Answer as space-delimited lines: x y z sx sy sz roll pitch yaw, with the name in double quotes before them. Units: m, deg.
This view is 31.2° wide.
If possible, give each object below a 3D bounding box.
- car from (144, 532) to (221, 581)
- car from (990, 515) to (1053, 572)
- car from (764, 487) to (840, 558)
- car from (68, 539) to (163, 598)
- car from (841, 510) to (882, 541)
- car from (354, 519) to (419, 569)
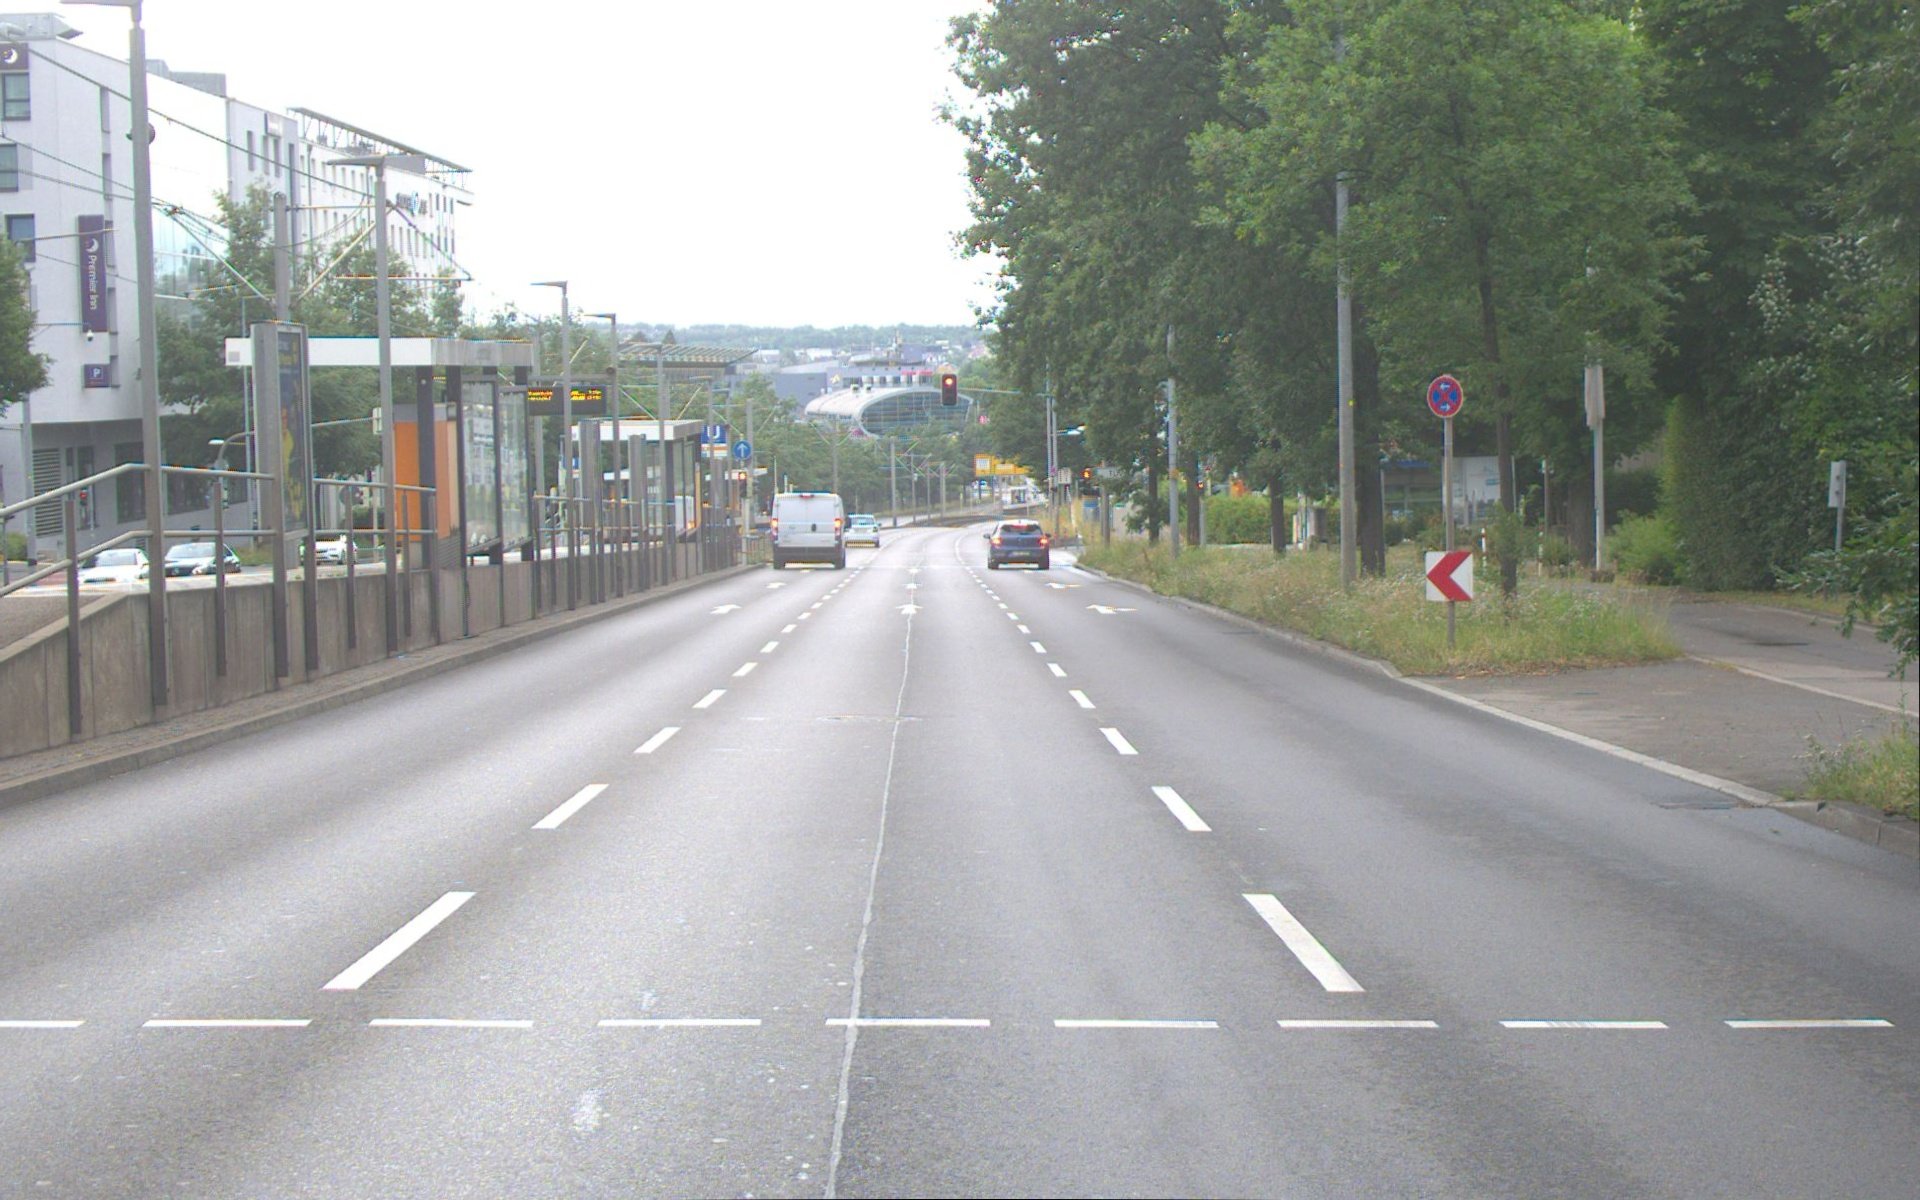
"car" -22.510 -1.268 99.595 1.567 1.374 3.519 0 2 -2
"car" 1.813 -1.706 102.956 1.774 1.685 3.846 0 1 -1
"car" -4.676 -2.314 102.232 2.093 2.046 4.607 0 1 -1
"car" -22.047 -0.848 89.831 1.650 1.431 3.880 -3 1 -3
"car" -4.415 -3.369 154.495 1.783 1.385 4.000 0 1 -1
"car" -17.712 -1.733 106.146 1.650 1.431 3.881 -3 1 -13
